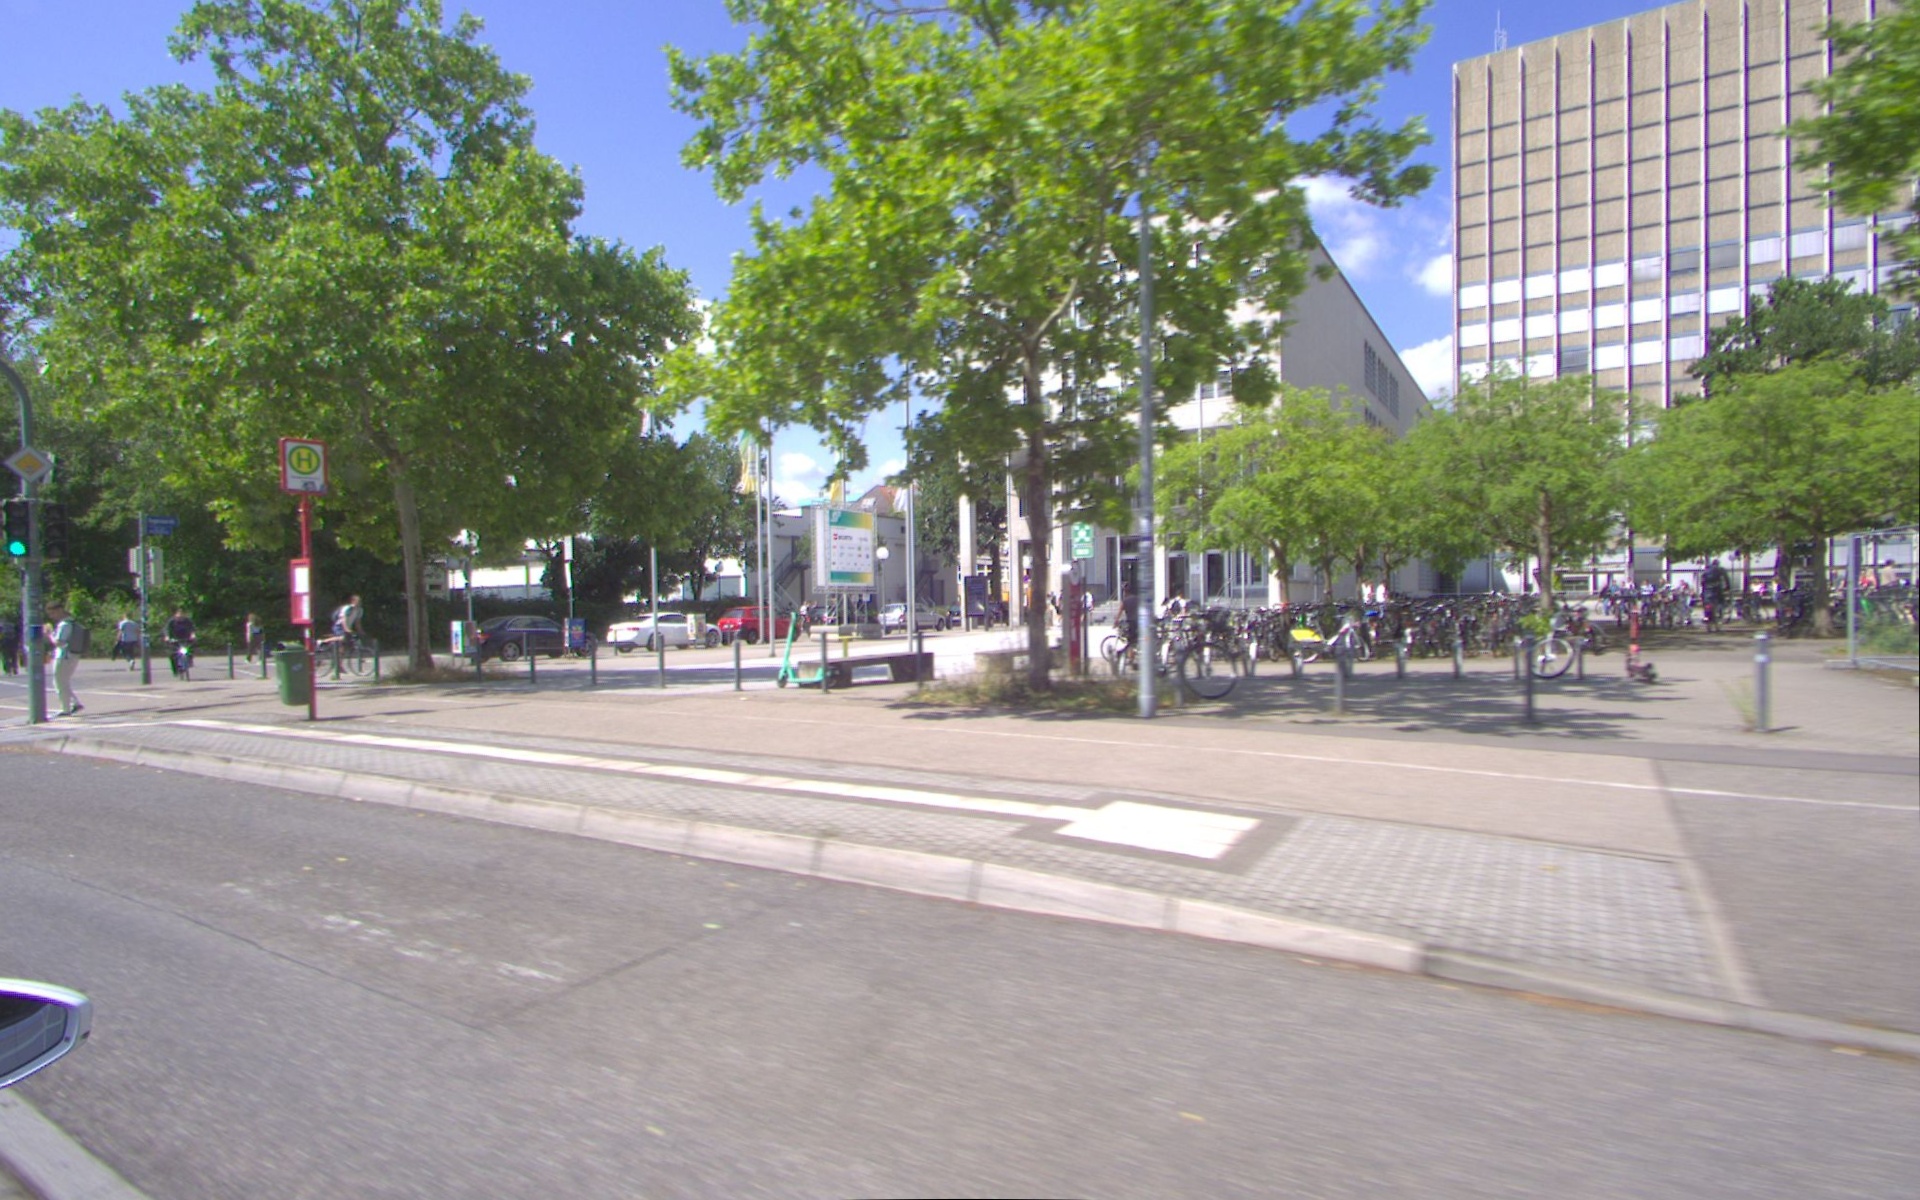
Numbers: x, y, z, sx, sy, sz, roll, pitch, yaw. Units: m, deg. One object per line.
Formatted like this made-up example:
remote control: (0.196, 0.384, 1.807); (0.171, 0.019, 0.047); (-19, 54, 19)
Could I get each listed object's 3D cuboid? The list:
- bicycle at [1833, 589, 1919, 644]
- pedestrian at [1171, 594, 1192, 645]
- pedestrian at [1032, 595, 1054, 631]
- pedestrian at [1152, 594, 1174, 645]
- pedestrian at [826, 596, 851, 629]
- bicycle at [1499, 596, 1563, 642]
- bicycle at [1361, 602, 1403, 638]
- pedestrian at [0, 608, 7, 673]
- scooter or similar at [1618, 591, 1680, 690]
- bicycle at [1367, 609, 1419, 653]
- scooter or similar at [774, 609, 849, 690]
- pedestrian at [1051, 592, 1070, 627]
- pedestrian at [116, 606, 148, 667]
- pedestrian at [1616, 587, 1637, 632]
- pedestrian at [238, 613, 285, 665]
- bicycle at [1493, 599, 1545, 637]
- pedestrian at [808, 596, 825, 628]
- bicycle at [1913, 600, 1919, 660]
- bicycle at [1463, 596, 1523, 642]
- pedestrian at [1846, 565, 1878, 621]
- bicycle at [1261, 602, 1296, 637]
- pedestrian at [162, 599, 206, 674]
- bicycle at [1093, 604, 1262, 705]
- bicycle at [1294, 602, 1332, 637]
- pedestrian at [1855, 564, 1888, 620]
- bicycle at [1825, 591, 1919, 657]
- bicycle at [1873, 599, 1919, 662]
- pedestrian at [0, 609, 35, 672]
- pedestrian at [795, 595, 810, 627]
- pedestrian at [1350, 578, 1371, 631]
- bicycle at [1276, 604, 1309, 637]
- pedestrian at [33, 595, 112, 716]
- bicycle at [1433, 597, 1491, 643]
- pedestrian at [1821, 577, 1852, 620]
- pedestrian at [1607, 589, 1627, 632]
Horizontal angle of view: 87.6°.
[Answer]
bicycle: (19.573, 0.370, 21.223); (0.592, 1.113, 1.768); (0, -2, 1)
pedestrian: (7.806, 0.687, 35.287); (0.623, 1.769, 0.715); (-1, -1, 23)
pedestrian: (3.762, 0.597, 45.492); (0.711, 1.605, 0.712); (-1, -1, 36)
pedestrian: (7.185, 0.691, 35.394); (0.623, 1.769, 0.715); (-1, -1, 23)
pedestrian: (-7.161, 0.739, 59.011); (1.083, 1.945, 1.015); (0, 1, 32)
bicycle: (14.290, 0.496, 25.109); (0.592, 1.113, 1.768); (0, -2, 1)
bicycle: (13.334, 0.639, 31.707); (0.592, 1.113, 1.768); (0, -2, 1)
pedestrian: (-26.064, 1.082, 26.749); (1.169, 1.727, 0.791); (1, 1, 43)
scooter or similar: (9.213, 0.530, 13.424); (0.276, 1.249, 1.297); (-2, -1, 17)
bicycle: (11.319, 0.818, 26.214); (0.592, 1.113, 1.768); (0, -2, 1)
scooter or similar: (-2.239, 0.732, 15.059); (1.176, 1.180, 0.352); (-1, -1, 33)
pedestrian: (4.917, 0.491, 48.943); (0.625, 1.687, 0.712); (-1, -1, 34)
pedestrian: (-25.630, 1.119, 31.006); (0.695, 1.845, 0.667); (1, 1, 43)
pedestrian: (33.585, 0.504, 50.451); (0.627, 2.258, 0.710); (1, -1, -40)
pedestrian: (-23.200, 1.269, 33.266); (1.003, 1.649, 0.854); (1, 2, 24)
bicycle: (16.885, 0.570, 30.311); (0.592, 1.113, 1.768); (0, -2, 1)
pedestrian: (-8.780, 0.714, 61.093); (0.725, 1.951, 0.779); (-1, 1, -36)
bicycle: (18.015, 0.528, 17.739); (0.592, 1.113, 1.768); (0, -2, 1)
bicycle: (13.355, 0.488, 25.146); (0.592, 1.113, 1.768); (0, -2, 1)
pedestrian: (37.096, -0.287, 41.199); (0.702, 2.258, 0.634); (0, -1, 1)
bicycle: (10.361, 0.648, 32.609); (0.592, 1.113, 1.768); (0, -2, 1)
pedestrian: (-19.779, 0.920, 25.526); (0.847, 1.843, 1.166); (0, -1, -39)
bicycle: (2.753, 0.673, 12.836); (2.009, 1.198, 0.793); (-1, -1, 43)
bicycle: (11.279, 0.637, 32.045); (0.592, 1.113, 1.768); (0, -2, 1)
pedestrian: (36.814, -0.314, 40.454); (0.702, 2.258, 0.634); (0, -1, 1)
bicycle: (16.471, 0.435, 17.852); (0.592, 1.113, 1.768); (0, -2, 1)
bicycle: (17.308, 0.545, 17.775); (0.592, 1.113, 1.768); (0, -2, 1)
pedestrian: (-26.683, 1.133, 28.250); (1.169, 1.727, 0.791); (1, 1, 43)
pedestrian: (-9.538, 0.672, 60.680); (0.586, 1.951, 0.780); (-1, 1, -36)
pedestrian: (17.185, 0.189, 42.979); (0.622, 2.258, 0.717); (0, -1, 1)
bicycle: (11.555, 0.712, 34.833); (0.592, 1.113, 1.768); (0, -2, 1)
pedestrian: (-13.868, 0.848, 15.661); (0.599, 1.825, 0.595); (-2, 2, -3)
bicycle: (12.601, 0.525, 25.180); (0.592, 1.113, 1.768); (0, -2, 1)
pedestrian: (36.879, -0.052, 42.141); (0.702, 1.800, 0.634); (0, -1, 1)
pedestrian: (34.439, 0.570, 52.462); (0.627, 2.258, 0.710); (1, -1, -40)
